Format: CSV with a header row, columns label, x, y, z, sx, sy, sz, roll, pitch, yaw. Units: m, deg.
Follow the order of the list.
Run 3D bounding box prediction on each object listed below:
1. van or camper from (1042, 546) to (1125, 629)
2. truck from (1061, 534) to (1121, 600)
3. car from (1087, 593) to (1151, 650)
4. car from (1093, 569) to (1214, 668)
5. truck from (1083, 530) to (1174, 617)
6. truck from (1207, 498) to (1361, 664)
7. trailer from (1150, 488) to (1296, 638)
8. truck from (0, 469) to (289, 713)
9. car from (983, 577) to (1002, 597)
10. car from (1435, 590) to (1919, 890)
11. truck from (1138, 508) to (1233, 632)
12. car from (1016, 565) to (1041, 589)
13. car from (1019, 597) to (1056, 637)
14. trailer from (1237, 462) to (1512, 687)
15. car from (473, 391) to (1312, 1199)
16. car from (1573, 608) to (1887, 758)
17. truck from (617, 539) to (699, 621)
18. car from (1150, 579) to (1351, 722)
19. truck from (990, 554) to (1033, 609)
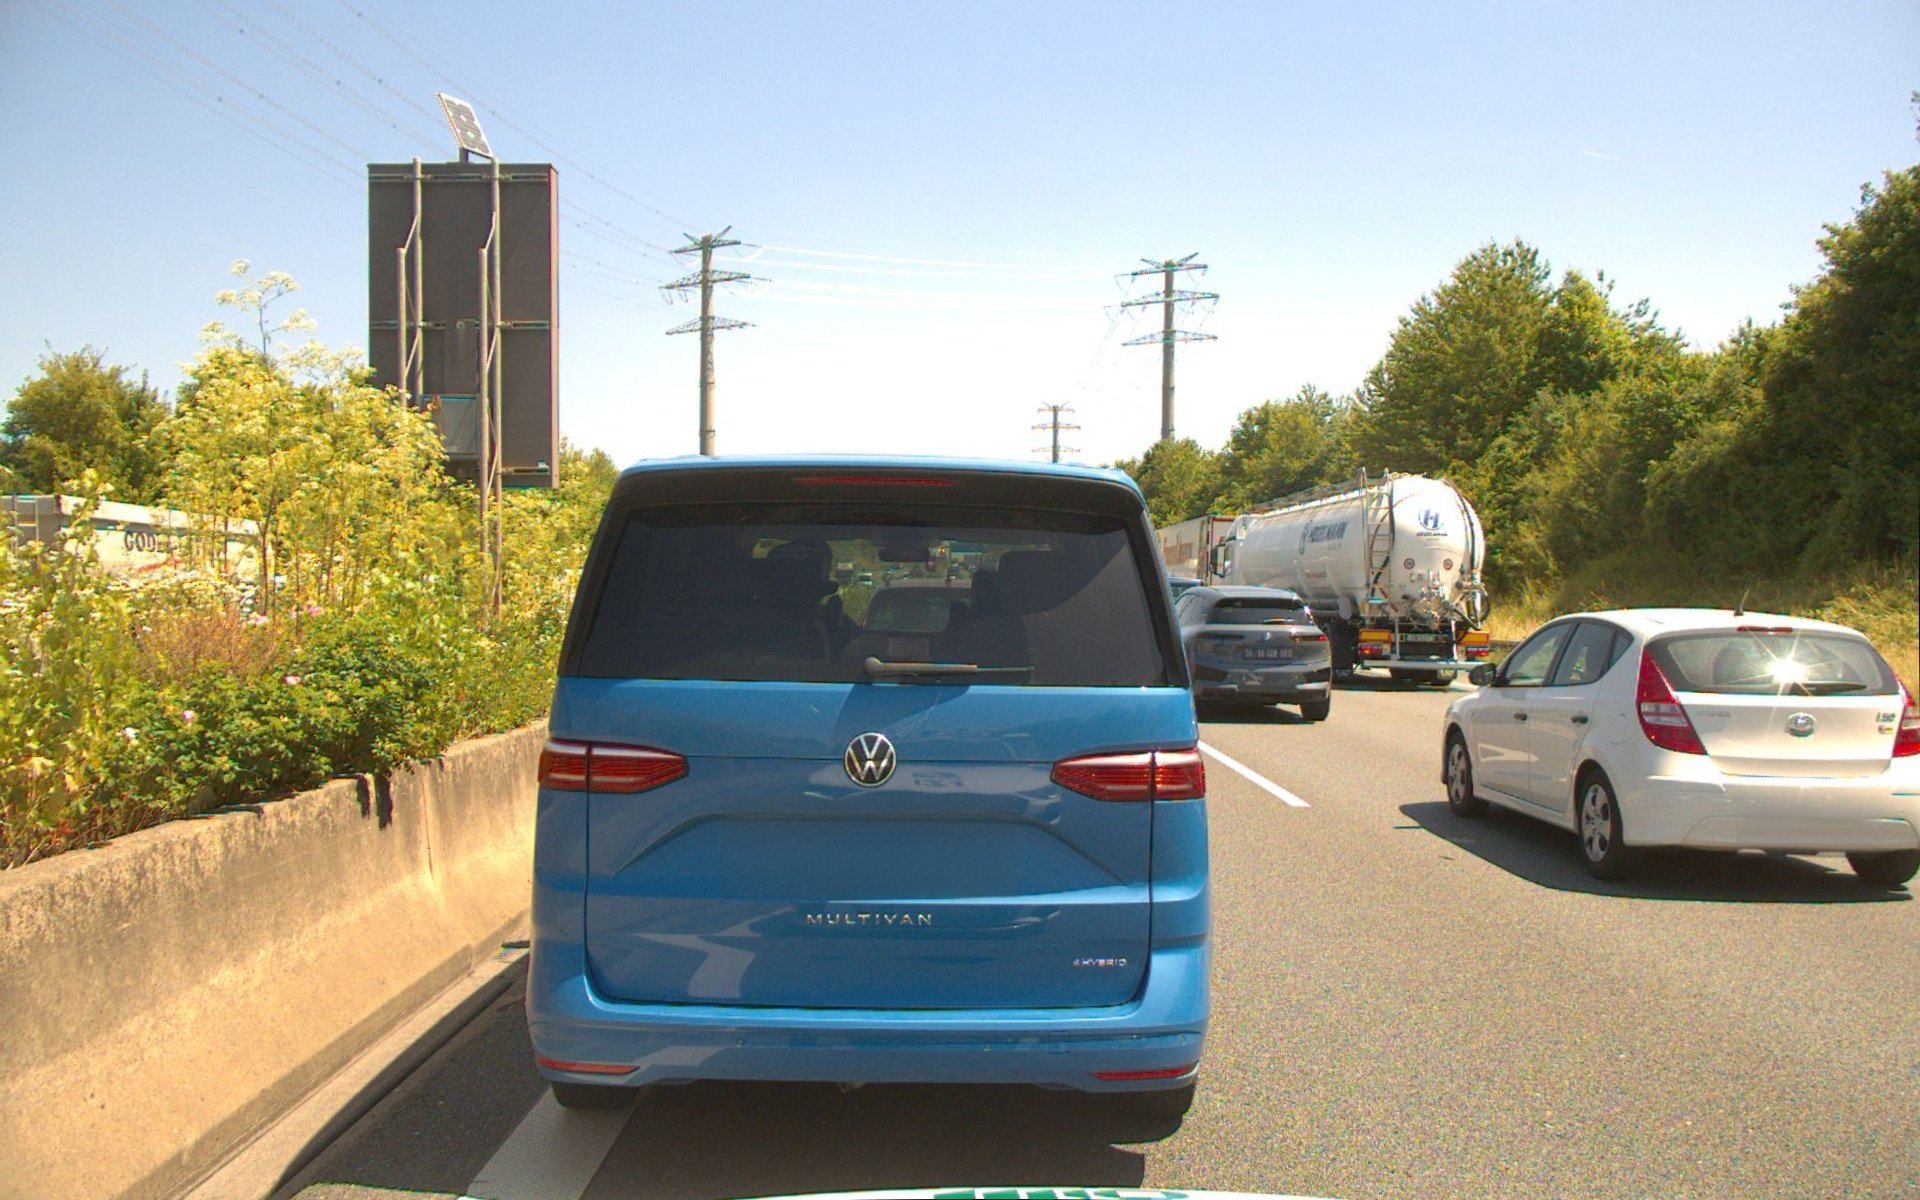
label,x,y,z,sx,sy,sz,roll,pitch,yaw
van or camper,4.793,-0.455,65.373,2.896,3.075,7.103,0,0,1
truck,8.144,-1.932,104.268,2.836,3.832,13.344,0,0,0
car,4.223,0.576,44.347,1.332,1.445,3.884,-1,-1,0
car,4.079,0.406,35.489,1.885,1.959,4.233,-1,-1,-3
truck,8.035,-1.143,81.021,2.944,3.832,15.712,0,0,0
truck,8.070,-0.448,41.887,2.736,3.903,5.571,0,0,-1
trailer,8.659,-1.120,56.141,2.853,4.547,12.151,0,0,-1
truck,-14.498,-0.122,26.308,2.708,3.346,11.820,0,0,1
car,3.648,-1.479,186.106,1.953,2.163,3.999,0,0,-1
car,4.418,0.729,10.370,1.779,1.511,4.000,0,-1,1
truck,8.587,-1.109,63.471,2.853,4.547,5.141,0,0,-1
car,5.984,-2.002,144.734,1.953,2.049,4.000,0,0,0
car,3.986,0.881,85.419,1.798,2.033,4.000,-1,-1,1
trailer,8.203,-0.446,34.626,2.705,3.912,11.484,0,0,-1
car,-0.162,0.494,5.791,1.881,1.919,4.000,1,0,0
car,8.333,0.843,18.314,1.607,1.441,3.988,-1,-1,0
truck,-14.357,-0.933,79.043,3.009,3.774,5.462,0,0,-1
car,3.829,0.648,22.629,1.958,1.745,4.625,0,-1,0
truck,3.662,-1.274,119.749,2.836,3.832,10.140,0,0,0
